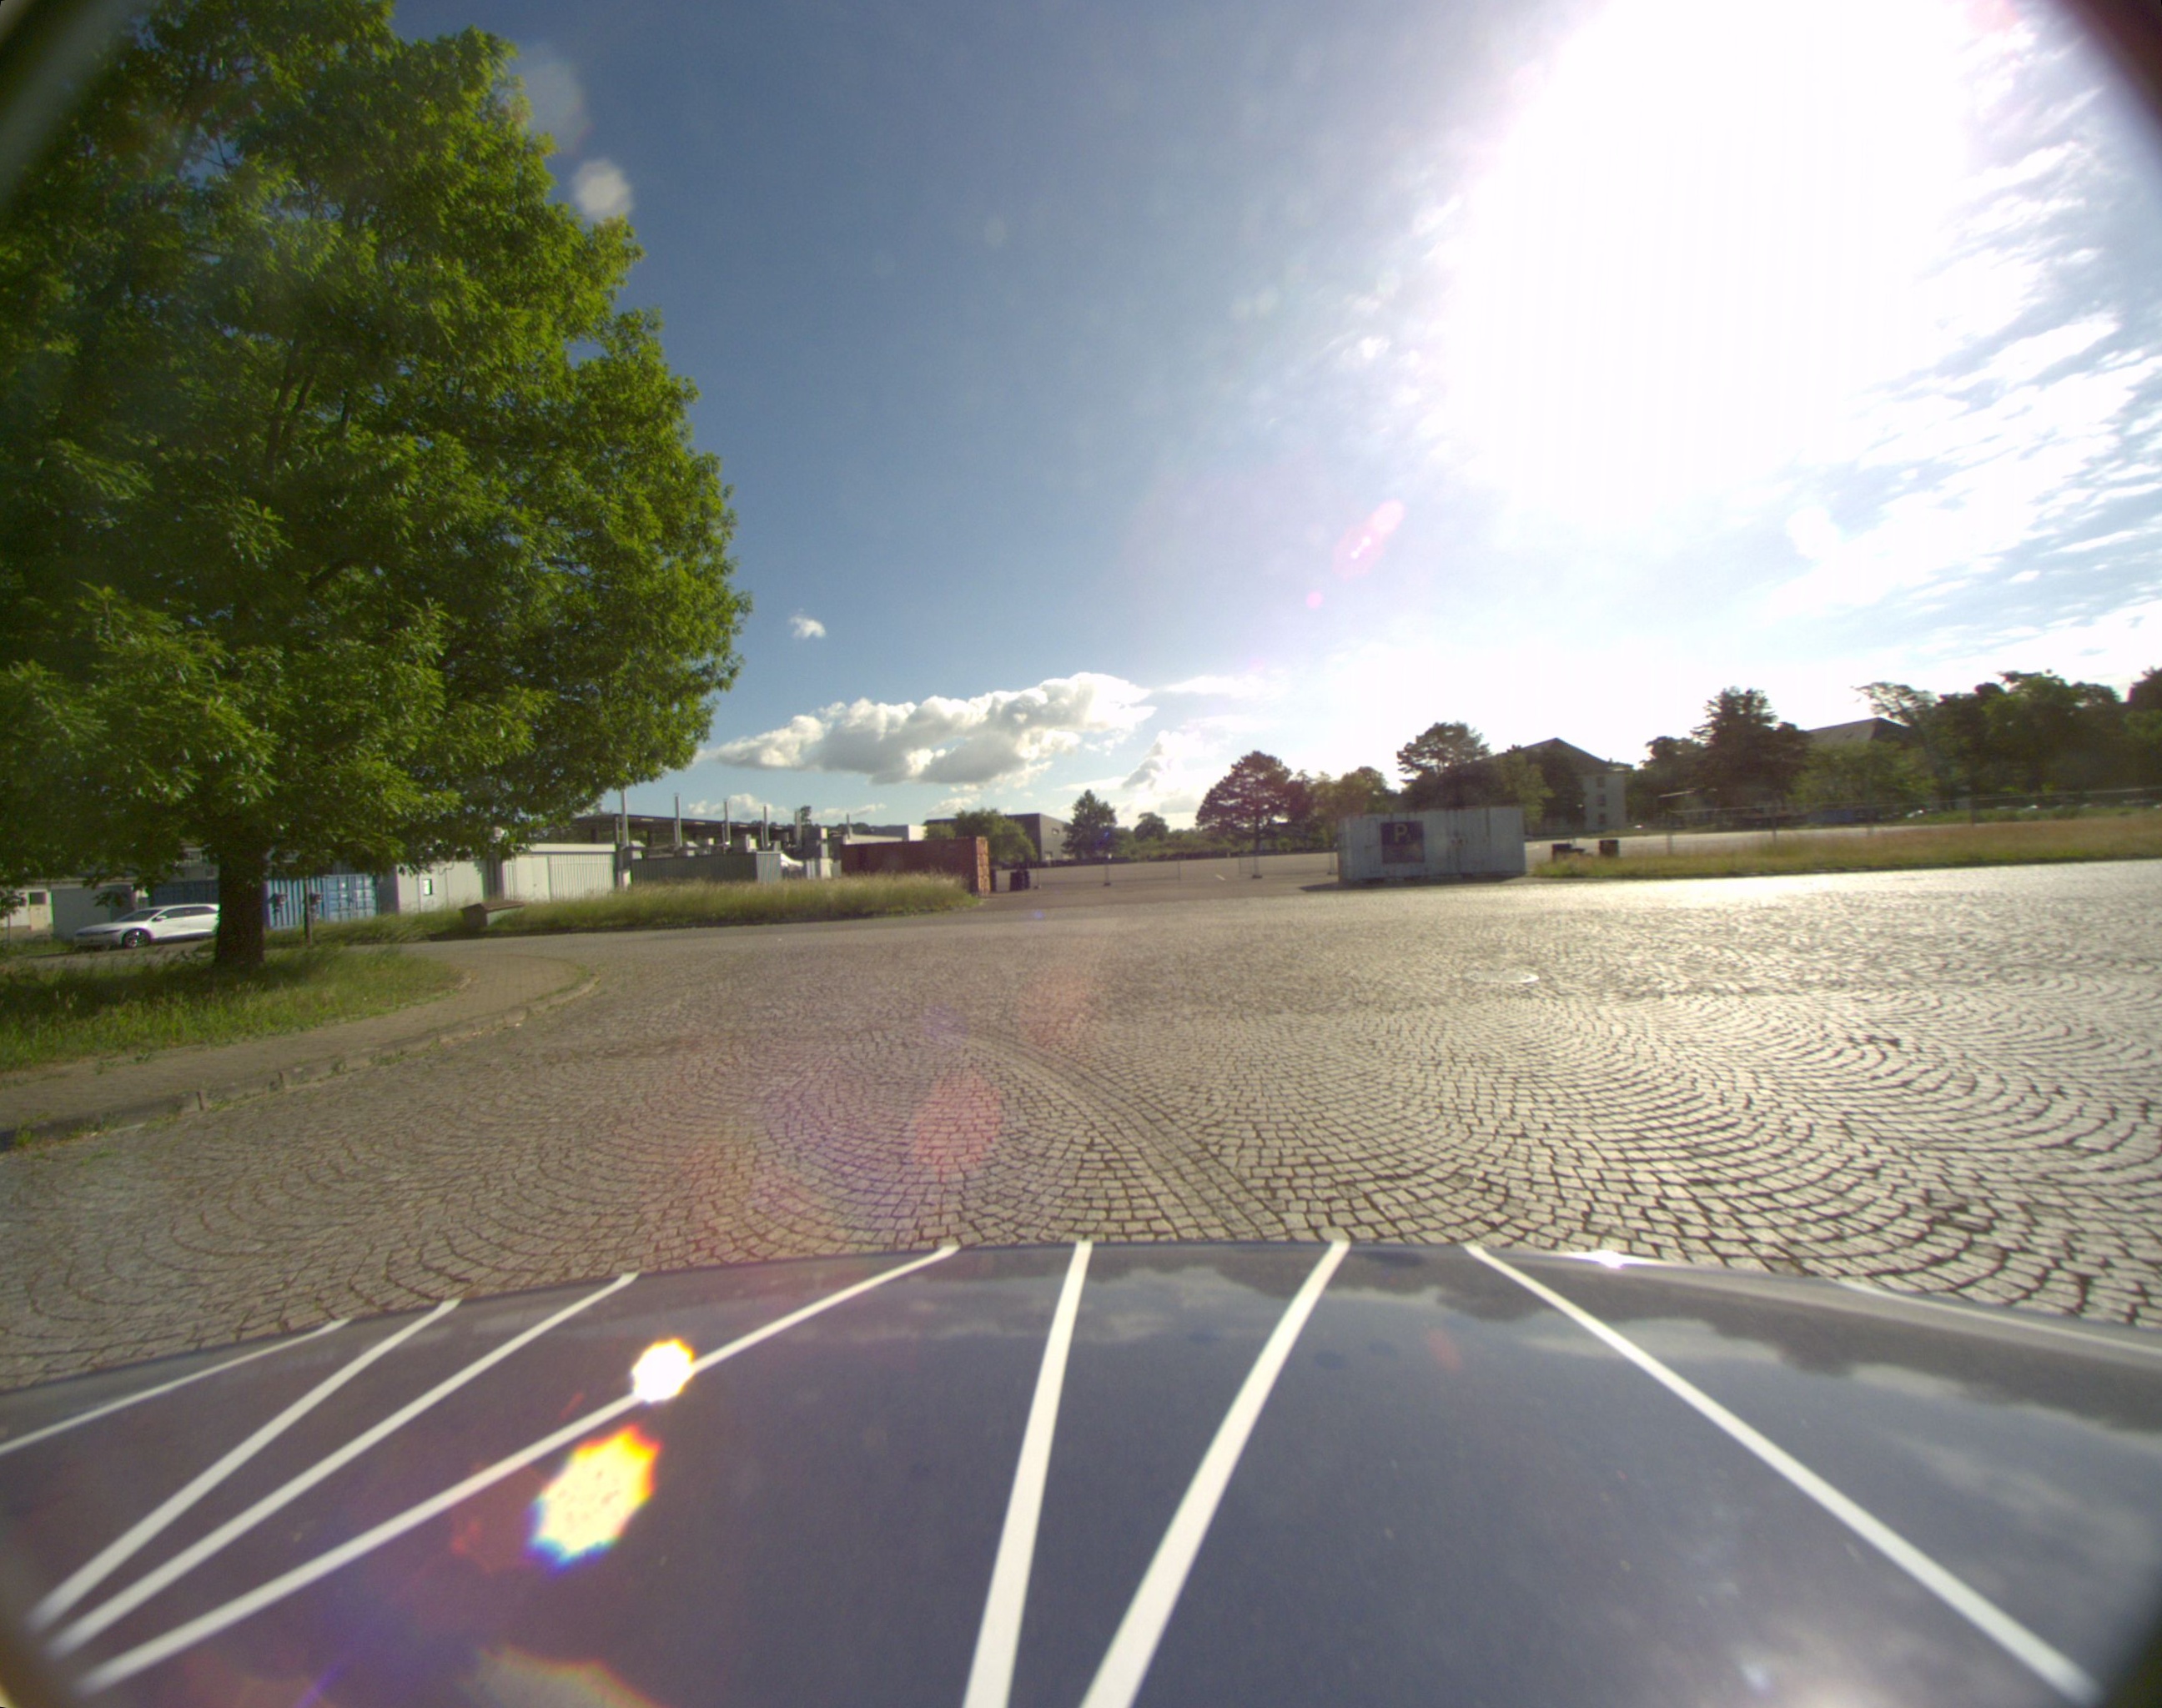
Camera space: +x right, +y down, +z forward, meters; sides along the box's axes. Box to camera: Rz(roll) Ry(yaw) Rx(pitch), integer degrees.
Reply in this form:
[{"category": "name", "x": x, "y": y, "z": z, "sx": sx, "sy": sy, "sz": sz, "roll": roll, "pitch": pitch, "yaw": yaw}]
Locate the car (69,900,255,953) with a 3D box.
[{"category": "car", "x": -37.979, "y": 2.949, "z": 31.622, "sx": 1.873, "sy": 1.668, "sz": 4.604, "roll": -3, "pitch": 0, "yaw": 5}]
